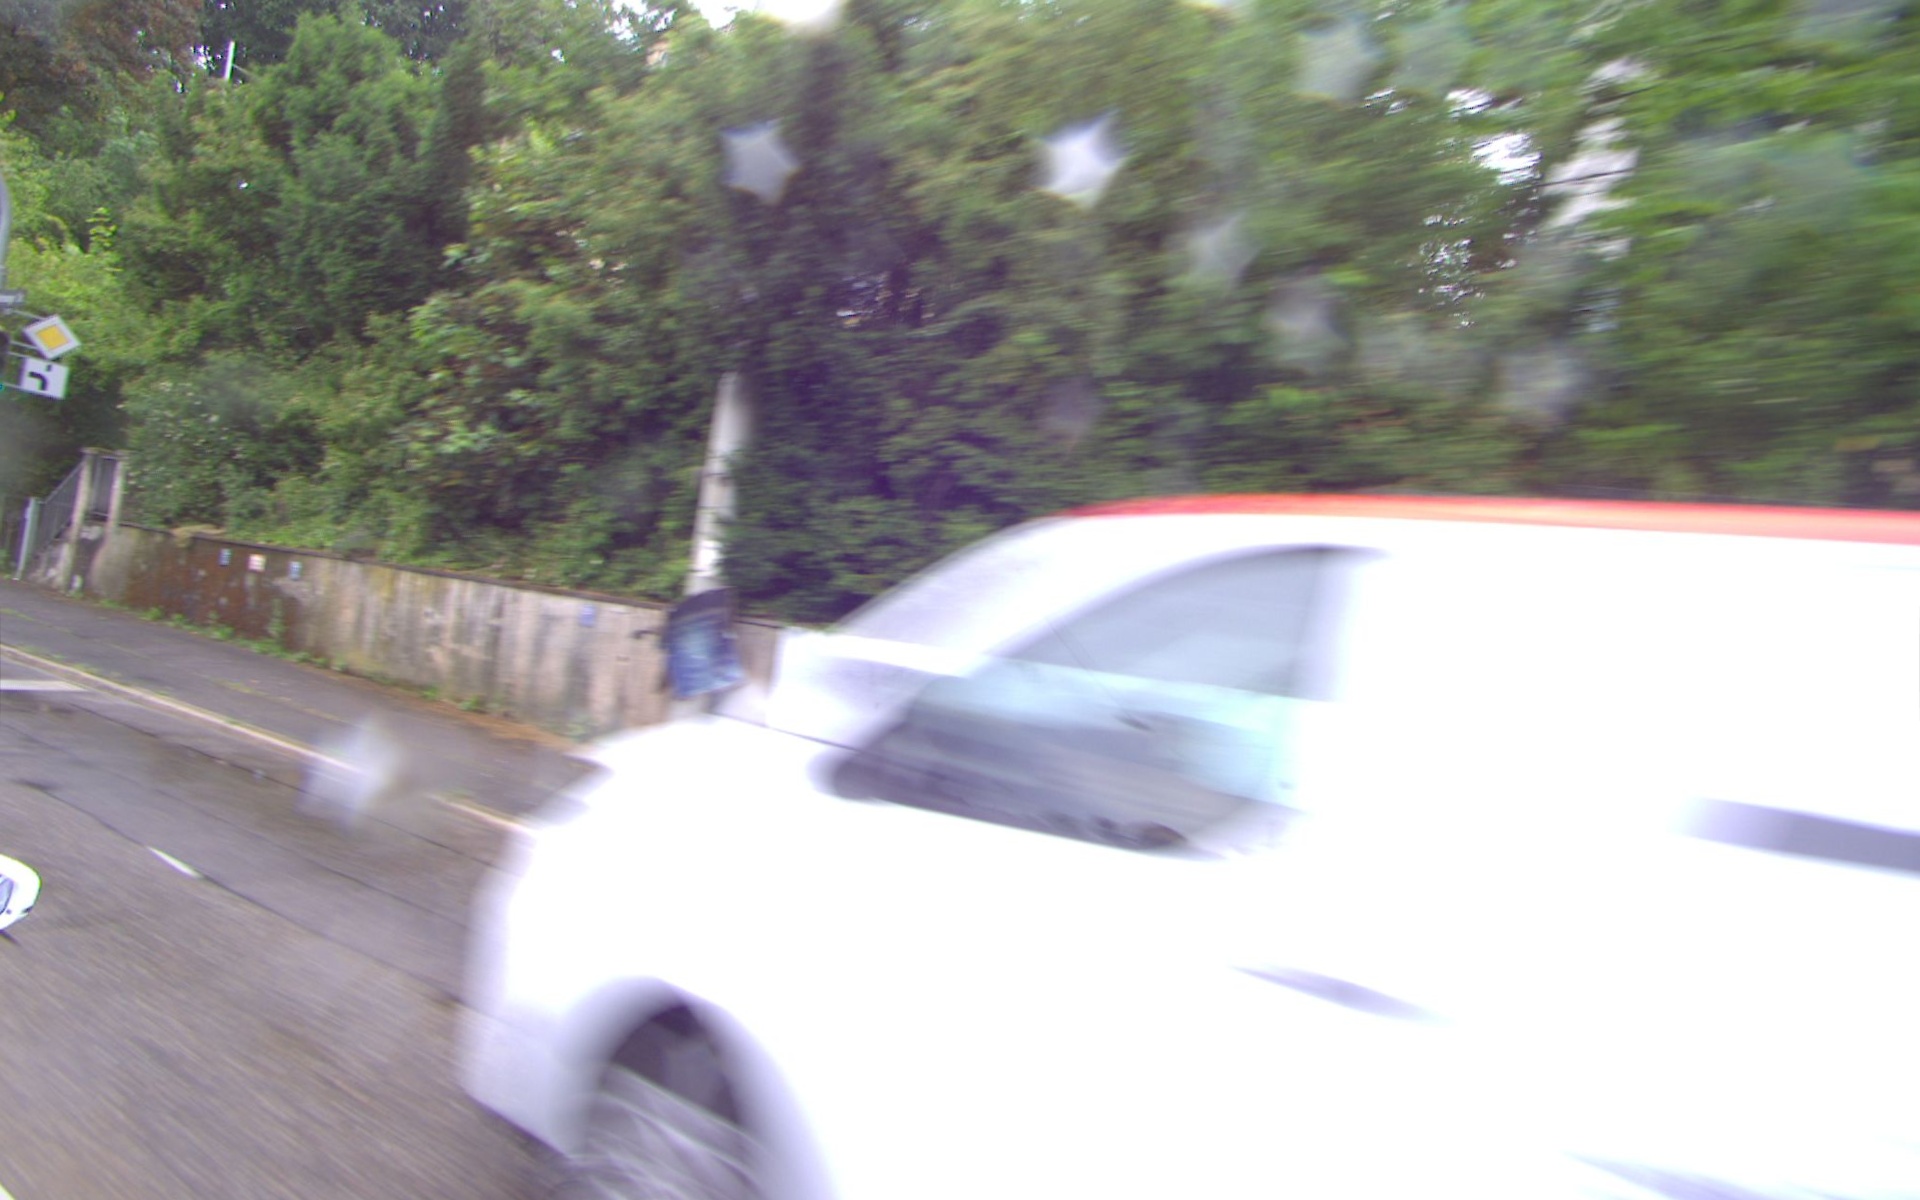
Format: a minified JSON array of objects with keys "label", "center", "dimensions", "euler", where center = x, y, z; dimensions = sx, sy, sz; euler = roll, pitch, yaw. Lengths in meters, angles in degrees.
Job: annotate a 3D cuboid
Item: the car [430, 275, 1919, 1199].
[{"label":"car","center":[1.432,0.751,2.026],"dimensions":[4.734,2.029,2.071],"euler":[9,-1,31]}]
